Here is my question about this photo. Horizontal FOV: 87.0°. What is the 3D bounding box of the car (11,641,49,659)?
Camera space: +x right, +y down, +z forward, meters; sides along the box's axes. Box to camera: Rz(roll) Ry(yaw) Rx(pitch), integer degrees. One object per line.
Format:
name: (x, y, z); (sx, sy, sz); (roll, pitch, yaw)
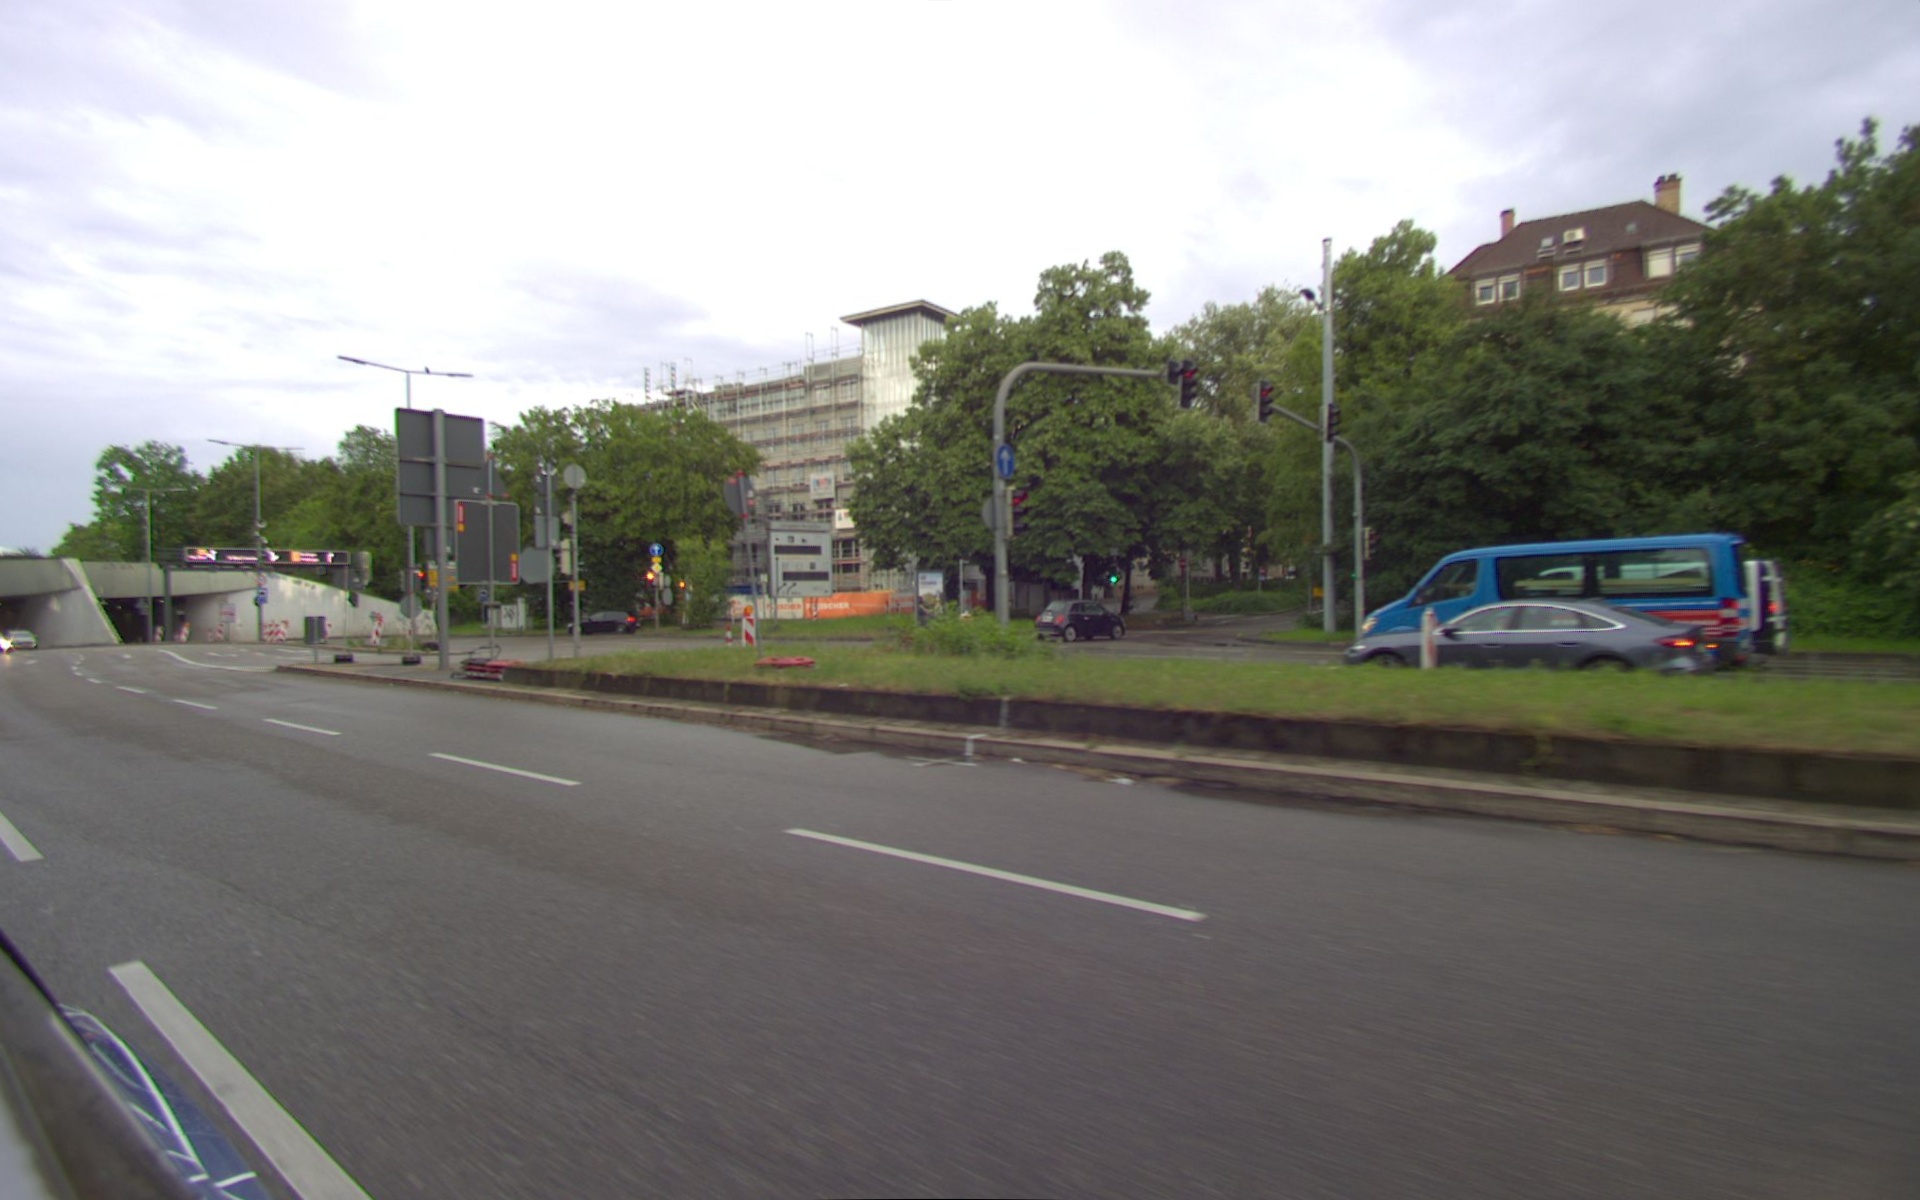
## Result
car: (-73.968, 3.945, 80.475); (3.820, 1.317, 1.677); (-2, -1, 39)

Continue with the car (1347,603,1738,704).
car: (8.197, 0.710, 14.606); (4.648, 1.209, 1.531); (-2, -1, 45)

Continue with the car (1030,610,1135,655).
car: (4.364, 1.123, 36.050); (3.444, 1.452, 1.596); (-1, -1, -31)

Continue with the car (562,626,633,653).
car: (-20.808, 2.243, 58.240); (3.654, 1.299, 1.474); (-3, 0, -14)

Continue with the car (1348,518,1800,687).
car: (10.234, 0.155, 17.364); (6.244, 2.409, 2.171); (-3, -1, 43)

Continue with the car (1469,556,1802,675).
car: (12.789, 0.348, 19.401); (4.990, 1.989, 2.012); (-3, -1, 43)

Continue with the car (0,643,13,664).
car: (-64.938, 3.590, 67.959); (3.824, 1.412, 1.675); (-2, -2, 42)
